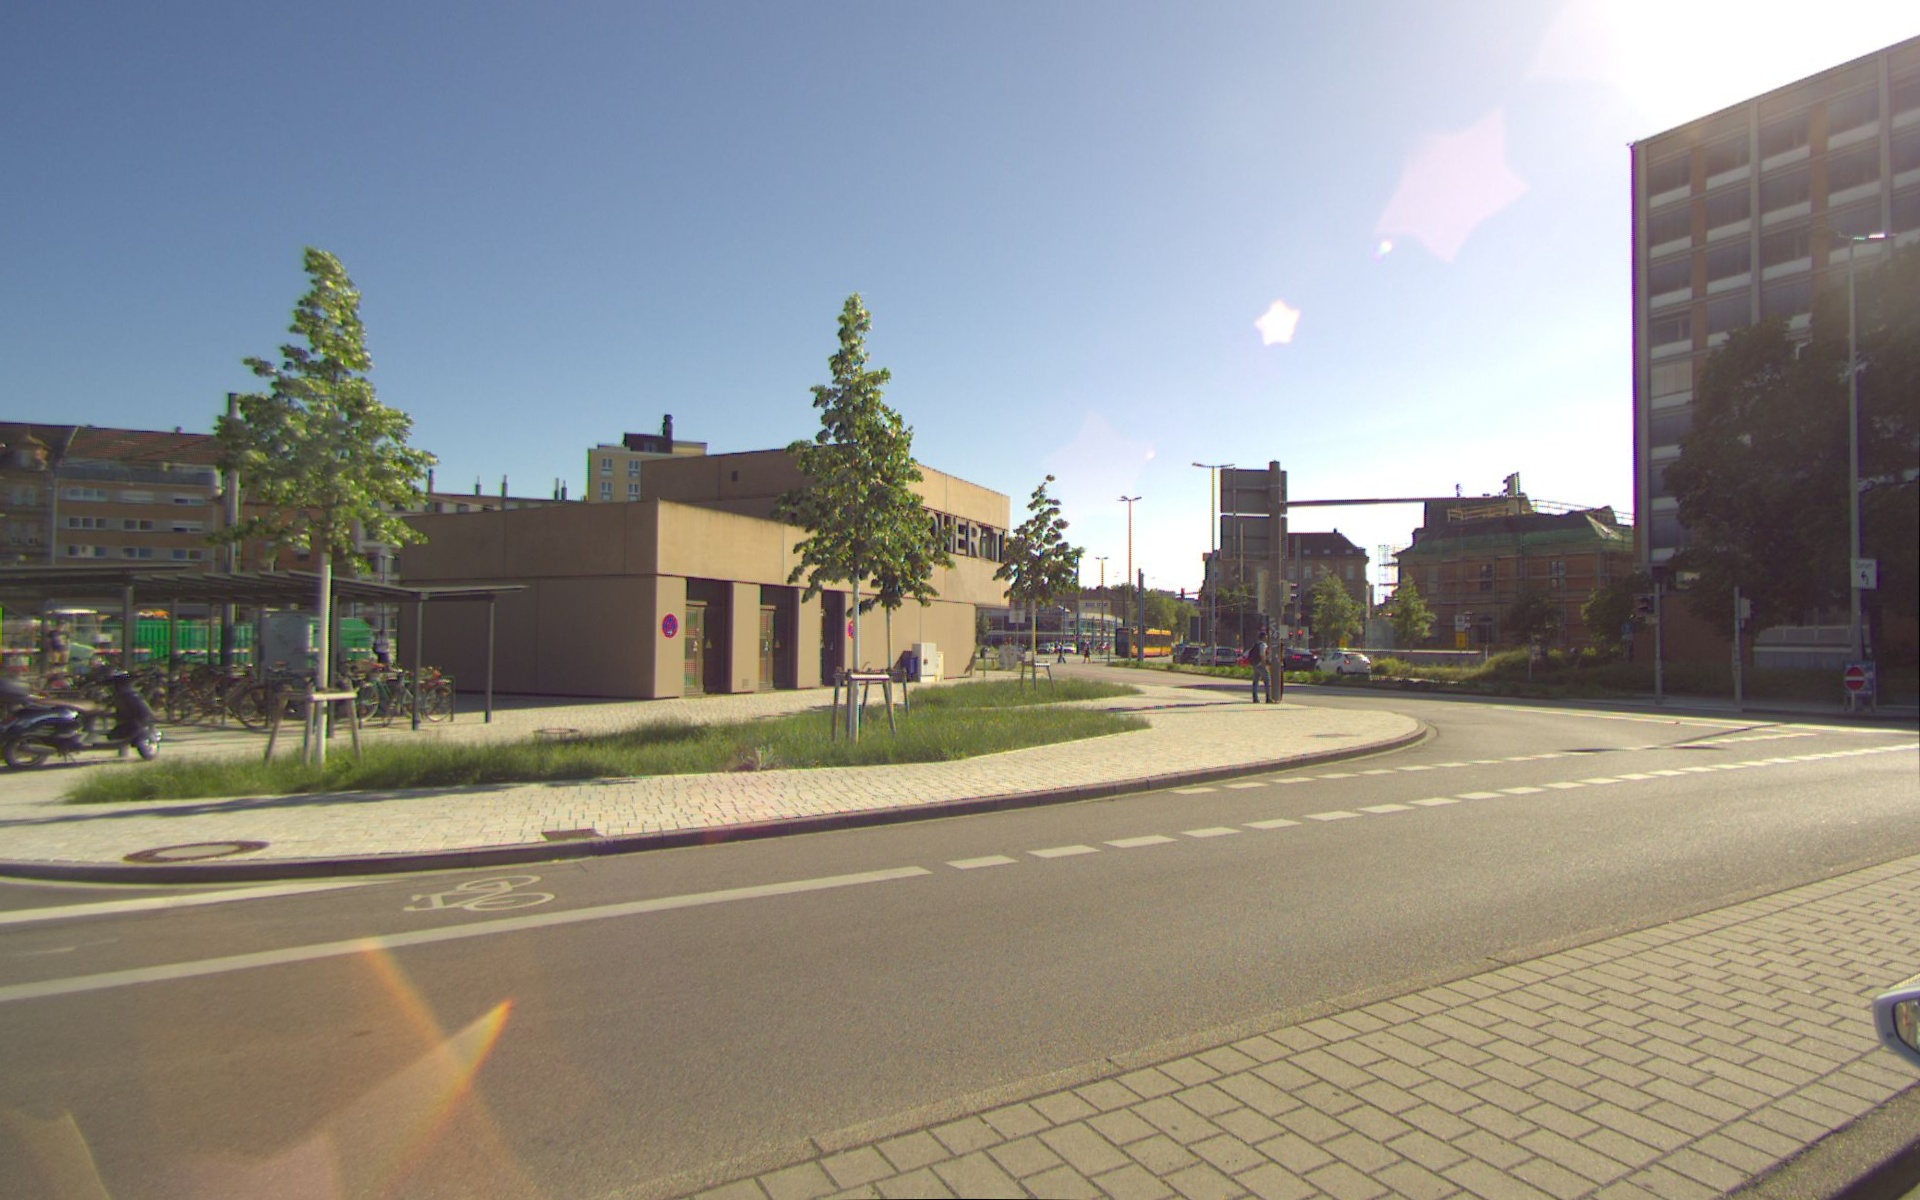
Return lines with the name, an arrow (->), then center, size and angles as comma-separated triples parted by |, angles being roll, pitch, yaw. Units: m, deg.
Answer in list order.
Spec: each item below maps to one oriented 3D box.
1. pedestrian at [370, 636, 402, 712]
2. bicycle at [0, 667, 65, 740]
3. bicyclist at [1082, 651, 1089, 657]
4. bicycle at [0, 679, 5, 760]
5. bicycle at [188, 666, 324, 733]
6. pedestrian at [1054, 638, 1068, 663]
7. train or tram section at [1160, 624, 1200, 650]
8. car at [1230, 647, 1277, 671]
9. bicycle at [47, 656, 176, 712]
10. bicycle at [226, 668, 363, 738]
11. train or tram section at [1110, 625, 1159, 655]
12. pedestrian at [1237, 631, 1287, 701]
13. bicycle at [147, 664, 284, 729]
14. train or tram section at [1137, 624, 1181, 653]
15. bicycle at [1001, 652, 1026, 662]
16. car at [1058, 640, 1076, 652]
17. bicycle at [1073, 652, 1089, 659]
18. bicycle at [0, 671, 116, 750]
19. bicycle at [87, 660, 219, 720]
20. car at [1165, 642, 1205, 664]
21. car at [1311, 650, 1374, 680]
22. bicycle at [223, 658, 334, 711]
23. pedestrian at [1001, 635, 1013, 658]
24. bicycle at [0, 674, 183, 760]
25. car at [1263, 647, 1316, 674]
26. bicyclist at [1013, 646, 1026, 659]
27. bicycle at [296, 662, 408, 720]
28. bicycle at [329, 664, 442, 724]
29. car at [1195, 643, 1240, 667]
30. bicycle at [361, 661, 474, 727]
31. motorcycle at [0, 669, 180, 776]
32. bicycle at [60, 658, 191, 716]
pedestrian -> -15.757, 2.013, 27.599 | 0.710, 2.040, 0.682 | 1, -2, -30
bicycle -> -14.170, 1.508, 14.440 | 0.449, 1.022, 1.902 | 0, -2, 26
bicyclist -> 10.641, 4.569, 84.872 | 0.560, 0.556, 0.431 | 0, -2, 11
bicycle -> -12.757, 1.484, 11.997 | 0.449, 1.022, 1.902 | 0, -2, 26
bicycle -> -11.901, 1.651, 17.053 | 0.449, 1.022, 1.902 | 0, -2, 26
pedestrian -> 8.213, 4.102, 81.798 | 1.023, 2.040, 0.724 | 1, -2, -9
train or tram section -> 29.782, 4.929, 135.399 | 2.651, 3.275, 10.589 | 2, 0, 27
car -> 20.194, 4.029, 69.247 | 1.760, 1.528, 3.880 | 1, -2, -6
bicycle -> -16.712, 1.638, 19.832 | 0.449, 1.022, 1.902 | 0, -2, 26
bicycle -> -10.922, 1.662, 16.564 | 0.449, 1.022, 1.902 | 0, -2, 26
train or tram section -> 20.359, 4.551, 116.468 | 2.651, 3.275, 10.589 | 2, 0, 27
pedestrian -> 7.671, 1.663, 25.531 | 1.044, 1.753, 0.652 | 1, -2, -16
bicycle -> -12.910, 1.648, 17.483 | 0.449, 1.022, 1.902 | 0, -2, 26
train or tram section -> 25.096, 4.741, 125.968 | 2.651, 3.275, 10.589 | 2, 0, 27
bicycle -> 5.046, 5.371, 94.333 | 2.207, 0.894, 0.892 | 1, -2, -19
car -> 15.090, 6.486, 141.358 | 1.709, 1.672, 4.002 | 0, -2, 17
bicycle -> 10.239, 4.698, 84.948 | 1.381, 0.556, 0.435 | 0, -2, 11
bicycle -> -13.041, 1.536, 14.009 | 0.449, 1.022, 1.902 | 0, -2, 26
bicycle -> -15.093, 1.655, 18.858 | 0.449, 1.022, 1.902 | 0, -2, 26
car -> 16.765, 3.926, 74.993 | 1.760, 1.528, 3.880 | 1, -2, -6
car -> 21.238, 3.591, 55.930 | 1.760, 1.528, 3.880 | 1, -2, -6
bicycle -> -14.085, 1.728, 20.823 | 0.449, 1.022, 1.902 | 0, -2, 26
pedestrian -> 3.924, 3.890, 83.819 | 0.862, 1.889, 0.730 | 1, -2, -9
bicycle -> -11.826, 1.555, 13.717 | 0.449, 1.022, 1.902 | 0, -2, 26
car -> 20.565, 3.765, 62.786 | 1.760, 1.528, 3.880 | 1, -2, -6
bicyclist -> 5.619, 4.927, 94.548 | 0.953, 1.182, 0.892 | 1, -2, -19
bicycle -> -11.809, 1.743, 19.571 | 0.449, 1.022, 1.902 | 0, -2, 26
bicycle -> -10.719, 1.733, 18.813 | 0.449, 1.022, 1.902 | 0, -2, 26
car -> 17.446, 3.691, 68.267 | 1.760, 1.528, 3.880 | 1, -2, -6
bicycle -> -9.939, 1.696, 18.484 | 0.449, 1.112, 1.902 | 0, -2, 26
motorcycle -> -10.931, 1.475, 12.464 | 0.508, 1.166, 1.947 | 0, -2, 25
bicycle -> -15.929, 1.643, 19.233 | 0.449, 1.022, 1.902 | 0, -2, 26
